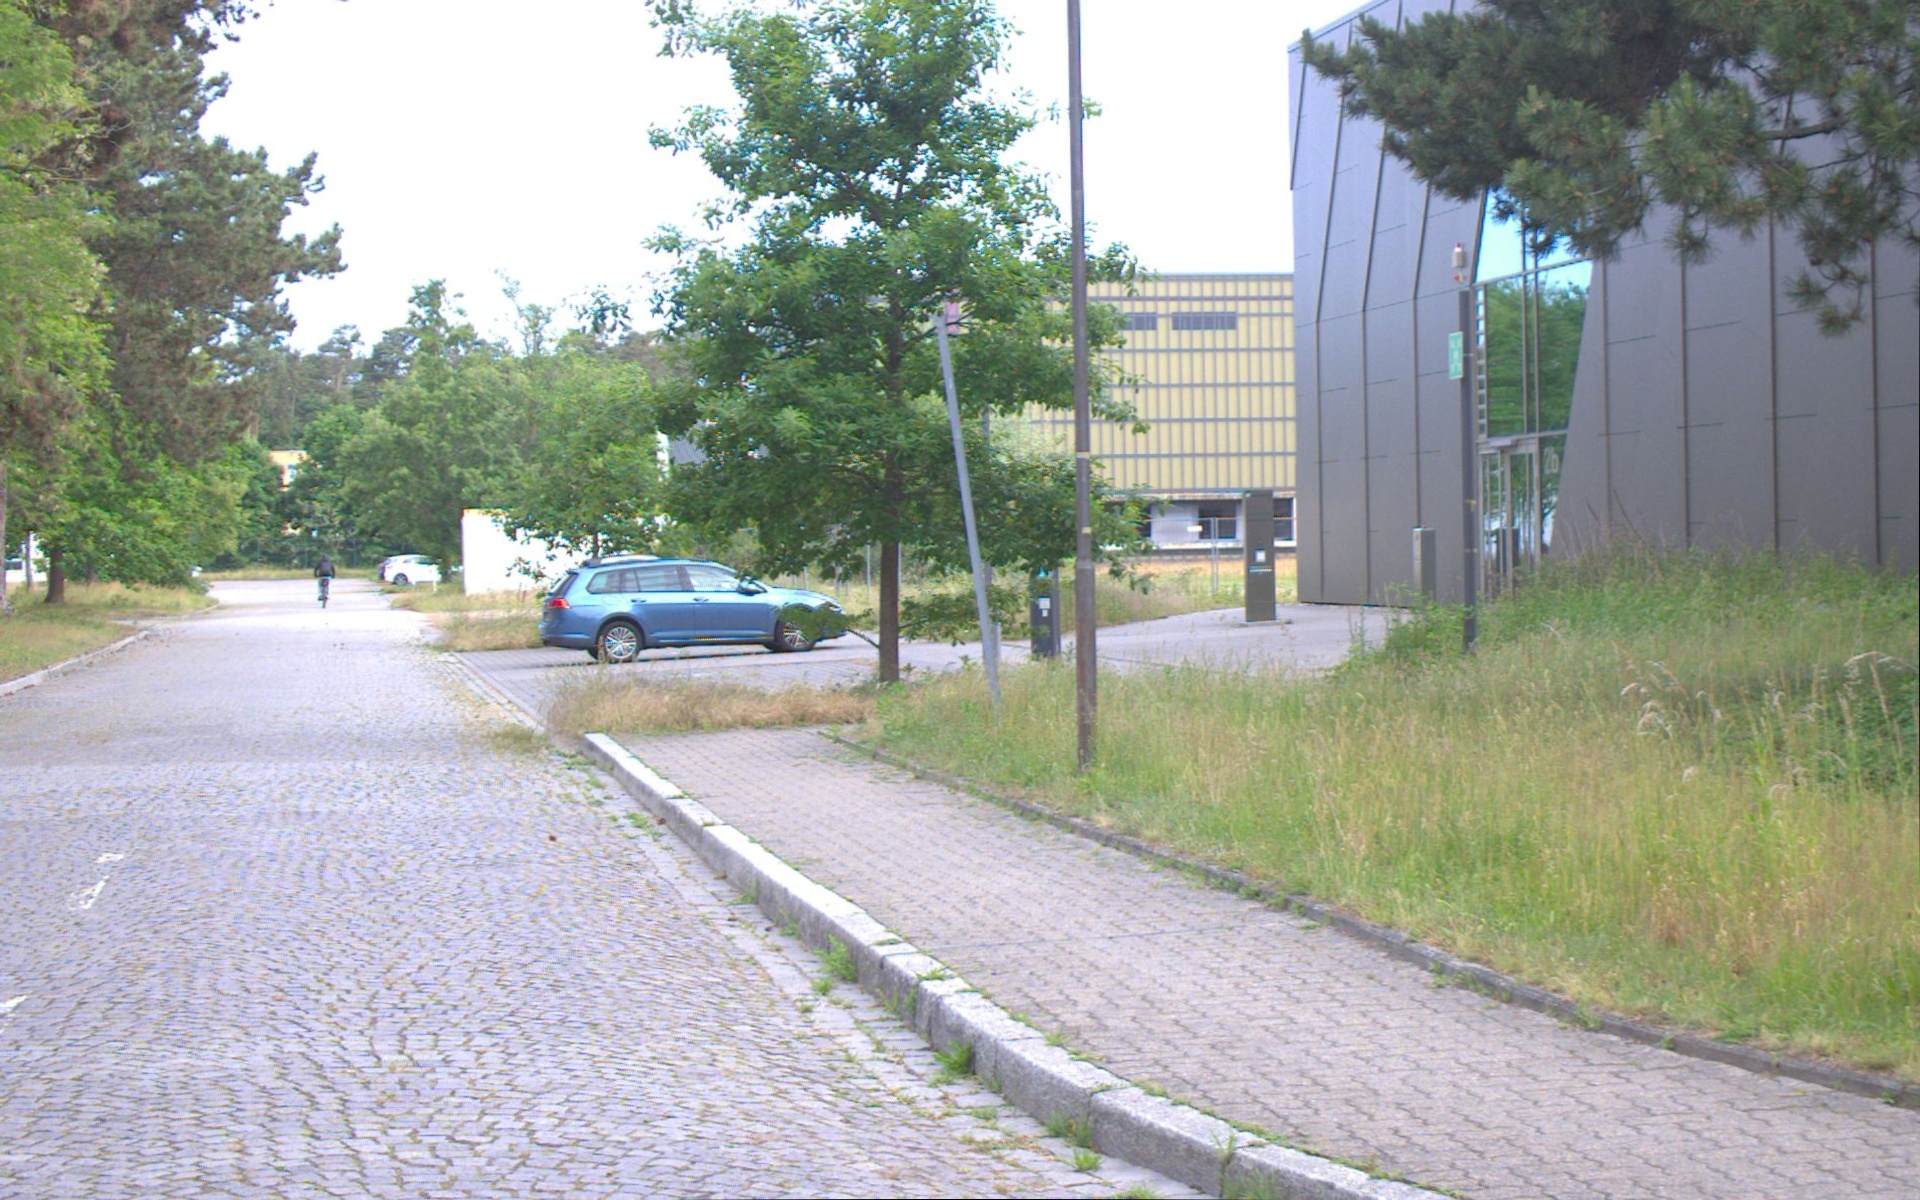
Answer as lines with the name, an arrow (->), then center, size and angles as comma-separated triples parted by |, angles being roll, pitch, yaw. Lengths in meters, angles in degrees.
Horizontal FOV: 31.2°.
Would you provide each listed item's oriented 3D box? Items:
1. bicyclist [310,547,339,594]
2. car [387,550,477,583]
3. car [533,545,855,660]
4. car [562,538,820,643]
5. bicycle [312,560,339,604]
bicyclist -> -20.933, -0.980, 113.284 | 0.897, 1.537, 0.868 | -1, 2, -11
car -> -25.949, -1.642, 168.931 | 4.321, 1.544, 2.001 | -1, 1, -9
car -> -3.981, 0.019, 51.111 | 4.480, 1.457, 1.935 | -3, 1, -12
car -> -4.592, -0.176, 58.573 | 4.106, 1.567, 1.765 | -3, 1, -12
bicycle -> -20.922, -0.604, 113.281 | 0.823, 1.372, 2.043 | -1, 2, -11
